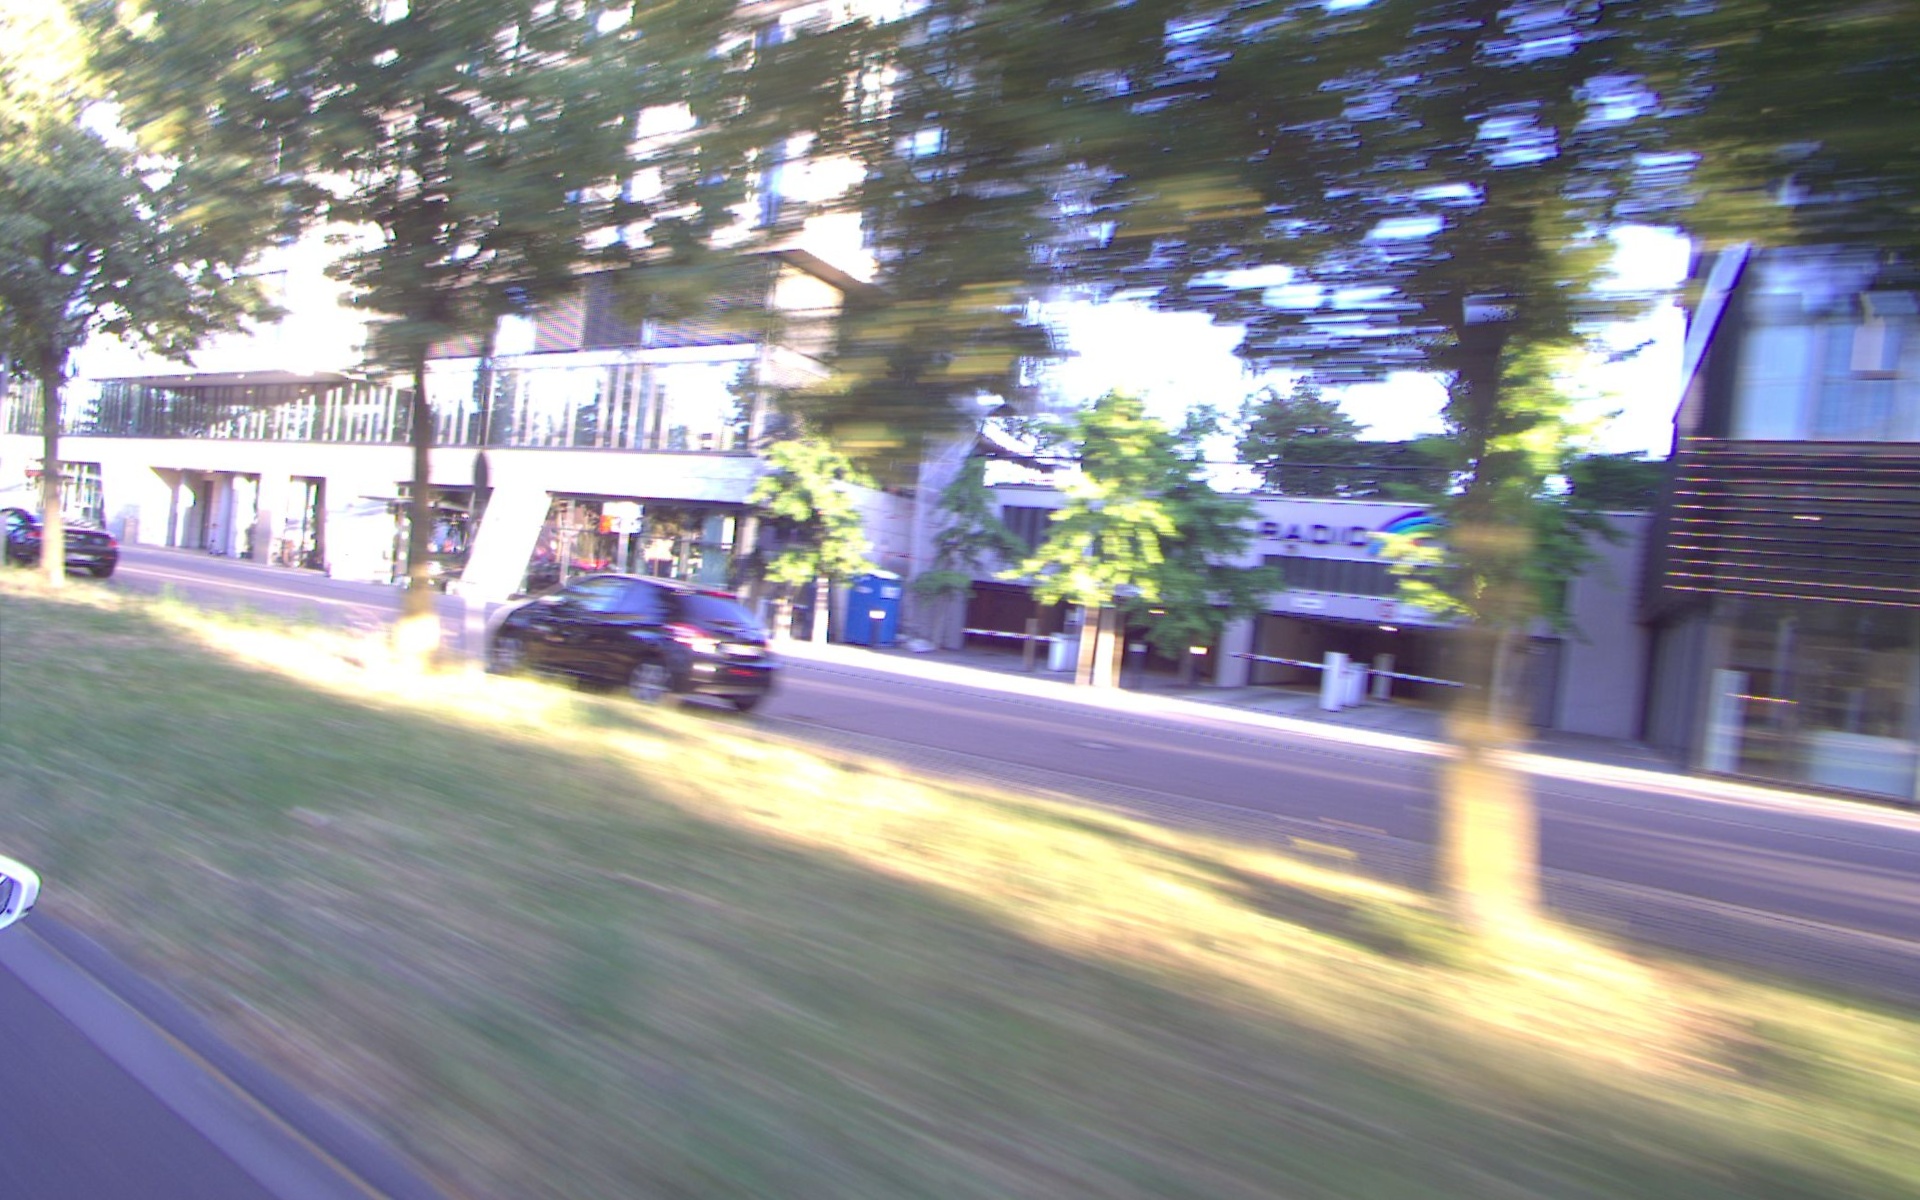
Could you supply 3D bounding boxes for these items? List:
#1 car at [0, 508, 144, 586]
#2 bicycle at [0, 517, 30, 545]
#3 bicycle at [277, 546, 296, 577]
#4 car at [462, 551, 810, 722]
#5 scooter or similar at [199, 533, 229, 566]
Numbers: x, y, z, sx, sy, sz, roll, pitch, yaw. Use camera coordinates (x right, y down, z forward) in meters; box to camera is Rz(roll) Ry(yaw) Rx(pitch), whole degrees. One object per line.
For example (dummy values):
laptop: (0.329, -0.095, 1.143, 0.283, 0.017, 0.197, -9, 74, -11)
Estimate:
car: (-20.786, -1.263, 22.853, 4.752, 1.385, 1.854, 6, 1, 30)
bicycle: (-40.706, -2.976, 43.217, 1.862, 1.052, 0.595, 6, 0, 33)
bicycle: (-24.579, -1.415, 36.710, 0.450, 1.040, 1.382, 5, 0, -32)
car: (-4.005, 0.422, 12.295, 3.934, 1.510, 1.785, 6, -3, 32)
scooter or similar: (-29.536, -2.003, 39.831, 1.209, 1.226, 0.472, 6, 1, 33)
